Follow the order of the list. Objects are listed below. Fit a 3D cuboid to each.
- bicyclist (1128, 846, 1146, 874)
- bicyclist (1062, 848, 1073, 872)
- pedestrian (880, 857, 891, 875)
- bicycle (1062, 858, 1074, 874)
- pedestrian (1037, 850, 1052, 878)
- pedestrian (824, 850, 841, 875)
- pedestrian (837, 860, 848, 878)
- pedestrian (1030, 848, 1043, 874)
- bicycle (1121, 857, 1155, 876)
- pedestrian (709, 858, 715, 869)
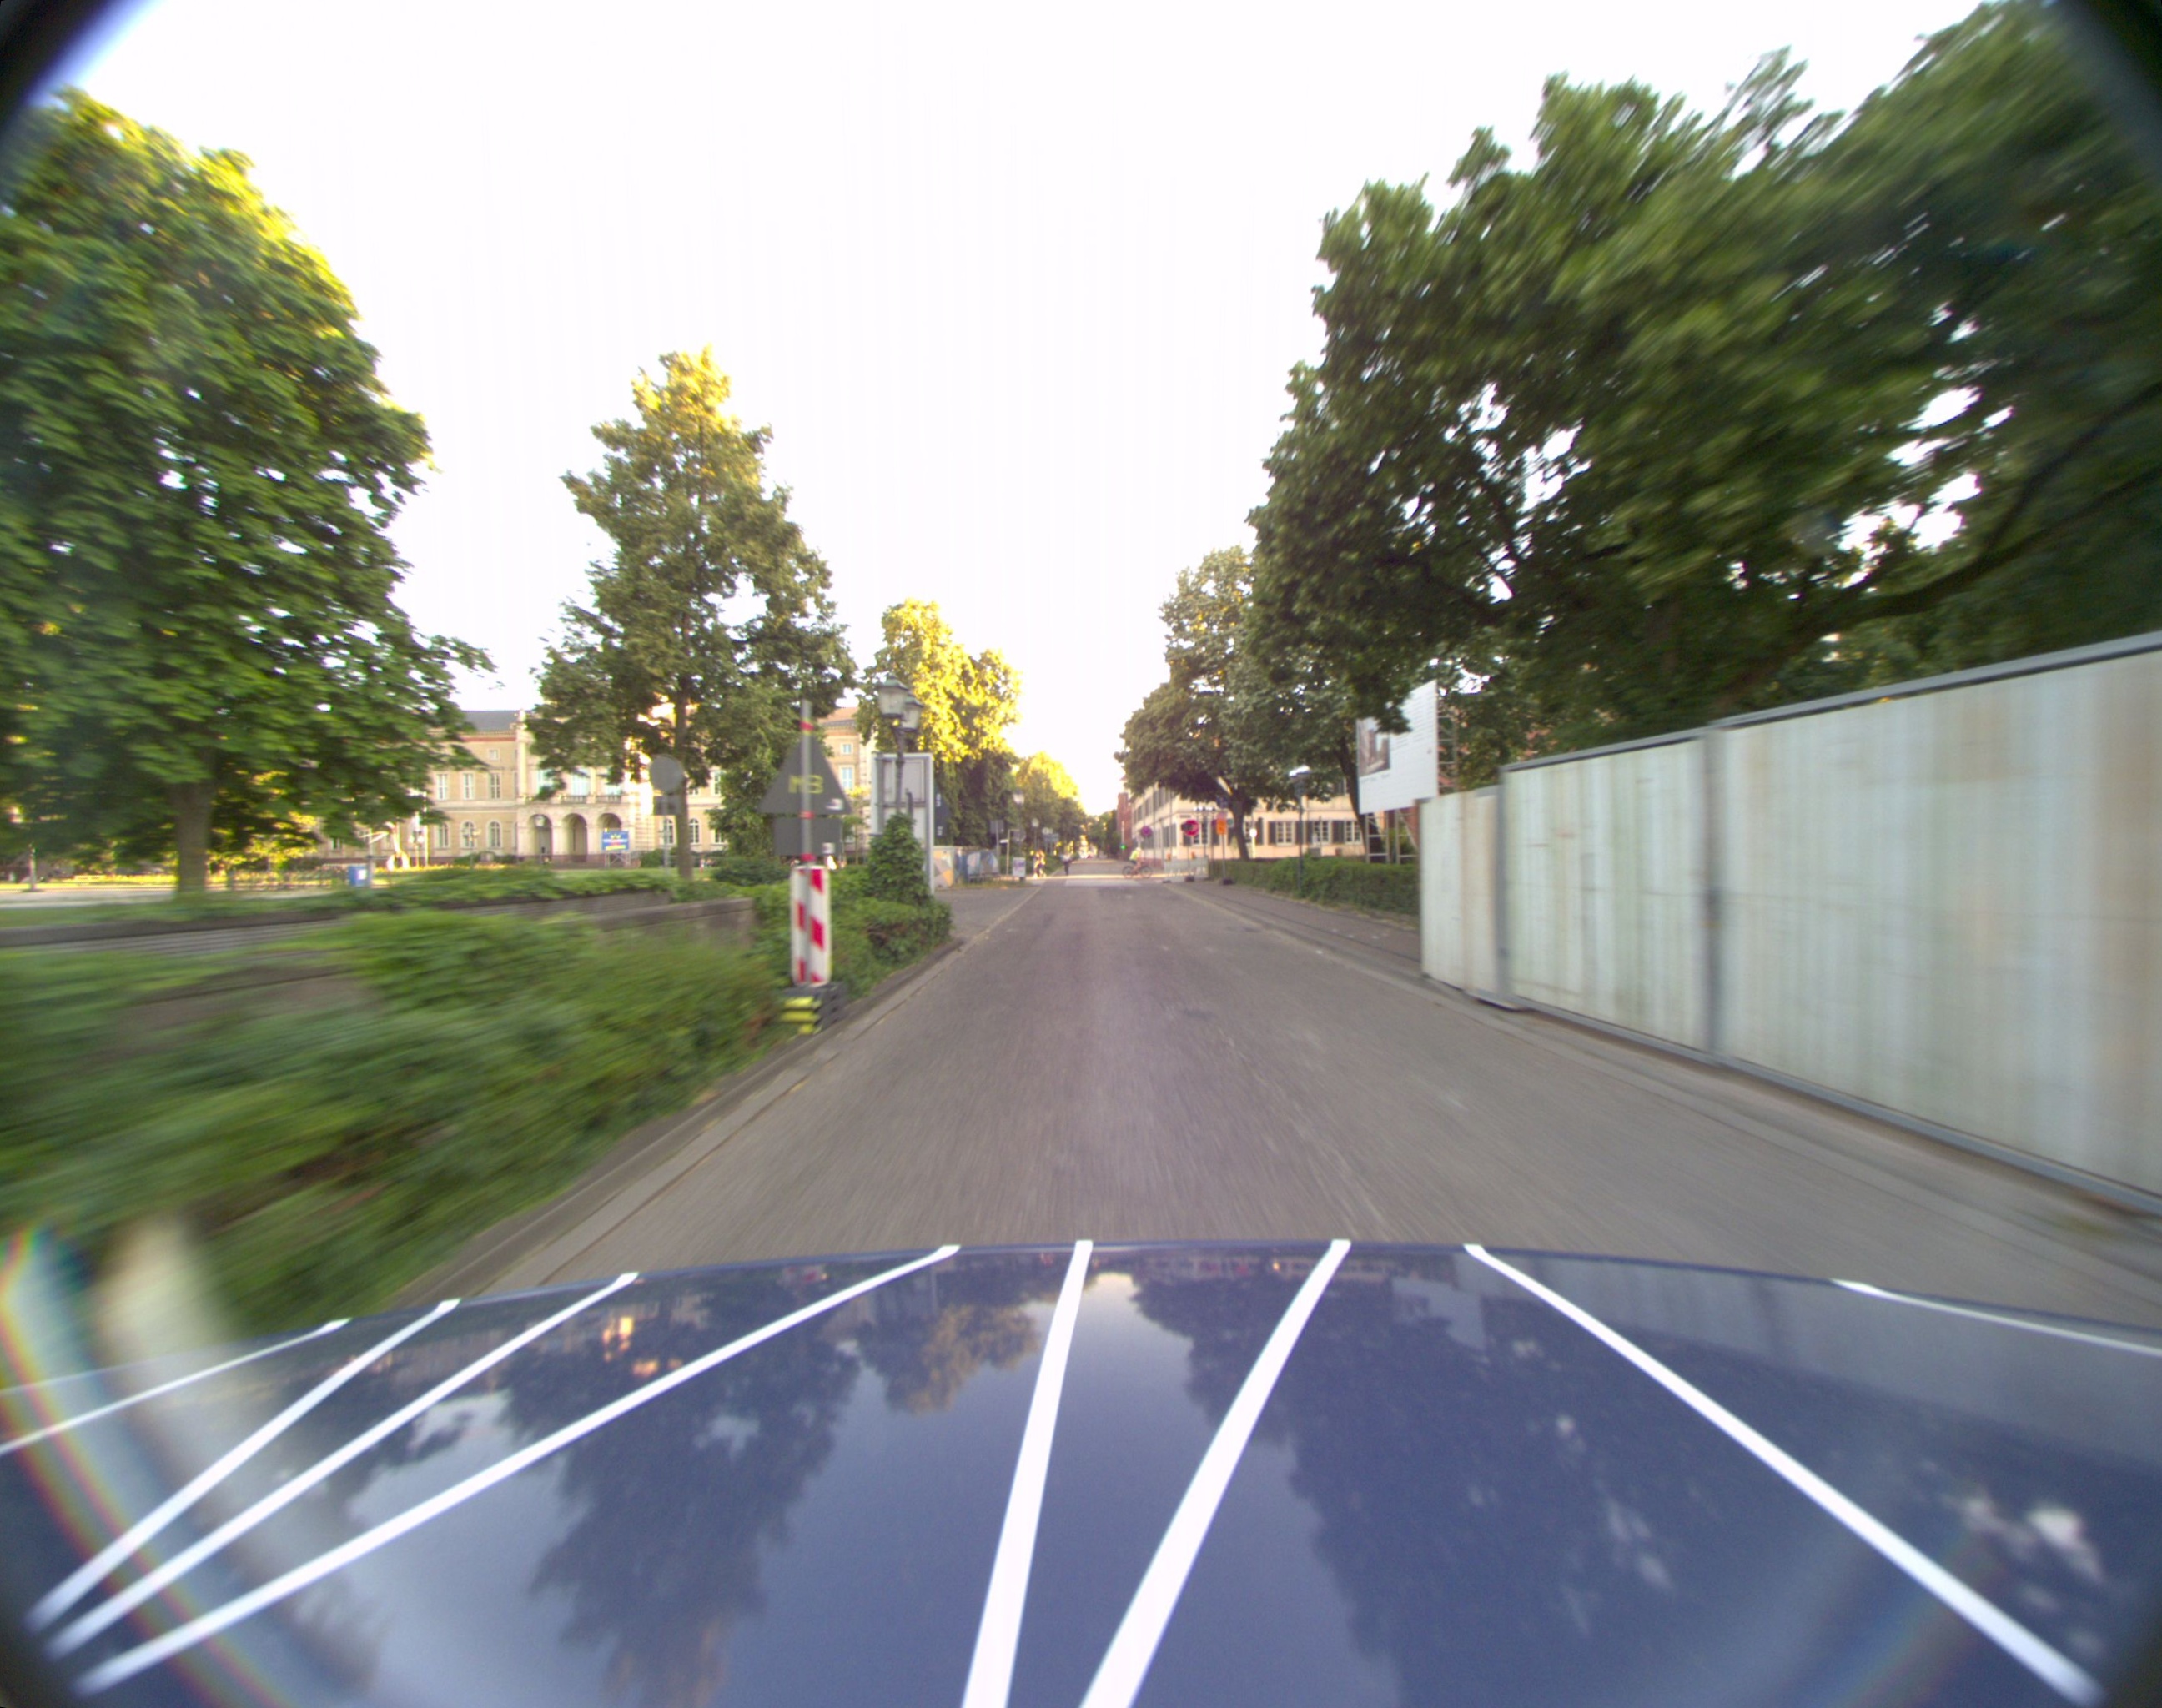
[{"bbox_3d":[3.201,0.357,43.735,0.968,1.611,0.594,-1,1,-2],"label":"bicyclist"},{"bbox_3d":[-1.000,0.453,57.046,0.673,1.793,1.059,-1,0,-8],"label":"bicyclist"},{"bbox_3d":[-13.369,0.802,52.003,0.528,1.197,0.970,-1,1,-5],"label":"pedestrian"},{"bbox_3d":[-1.004,0.871,57.172,0.654,1.175,2.343,-1,0,-8],"label":"bicycle"},{"bbox_3d":[-2.409,0.632,49.657,0.941,1.777,0.762,-1,1,-2],"label":"pedestrian"},{"bbox_3d":[-16.363,0.580,50.081,0.859,1.616,0.757,-1,1,-5],"label":"pedestrian"},{"bbox_3d":[-16.331,0.999,52.007,0.608,1.207,0.666,-1,1,-5],"label":"pedestrian"},{"bbox_3d":[-2.957,0.483,50.632,0.859,1.730,0.649,-1,1,-2],"label":"pedestrian"},{"bbox_3d":[3.278,0.725,43.741,1.900,1.033,0.581,-1,1,-2],"label":"bicycle"},{"bbox_3d":[-44.120,1.095,90.792,0.500,1.281,0.592,-1,1,-5],"label":"pedestrian"}]
